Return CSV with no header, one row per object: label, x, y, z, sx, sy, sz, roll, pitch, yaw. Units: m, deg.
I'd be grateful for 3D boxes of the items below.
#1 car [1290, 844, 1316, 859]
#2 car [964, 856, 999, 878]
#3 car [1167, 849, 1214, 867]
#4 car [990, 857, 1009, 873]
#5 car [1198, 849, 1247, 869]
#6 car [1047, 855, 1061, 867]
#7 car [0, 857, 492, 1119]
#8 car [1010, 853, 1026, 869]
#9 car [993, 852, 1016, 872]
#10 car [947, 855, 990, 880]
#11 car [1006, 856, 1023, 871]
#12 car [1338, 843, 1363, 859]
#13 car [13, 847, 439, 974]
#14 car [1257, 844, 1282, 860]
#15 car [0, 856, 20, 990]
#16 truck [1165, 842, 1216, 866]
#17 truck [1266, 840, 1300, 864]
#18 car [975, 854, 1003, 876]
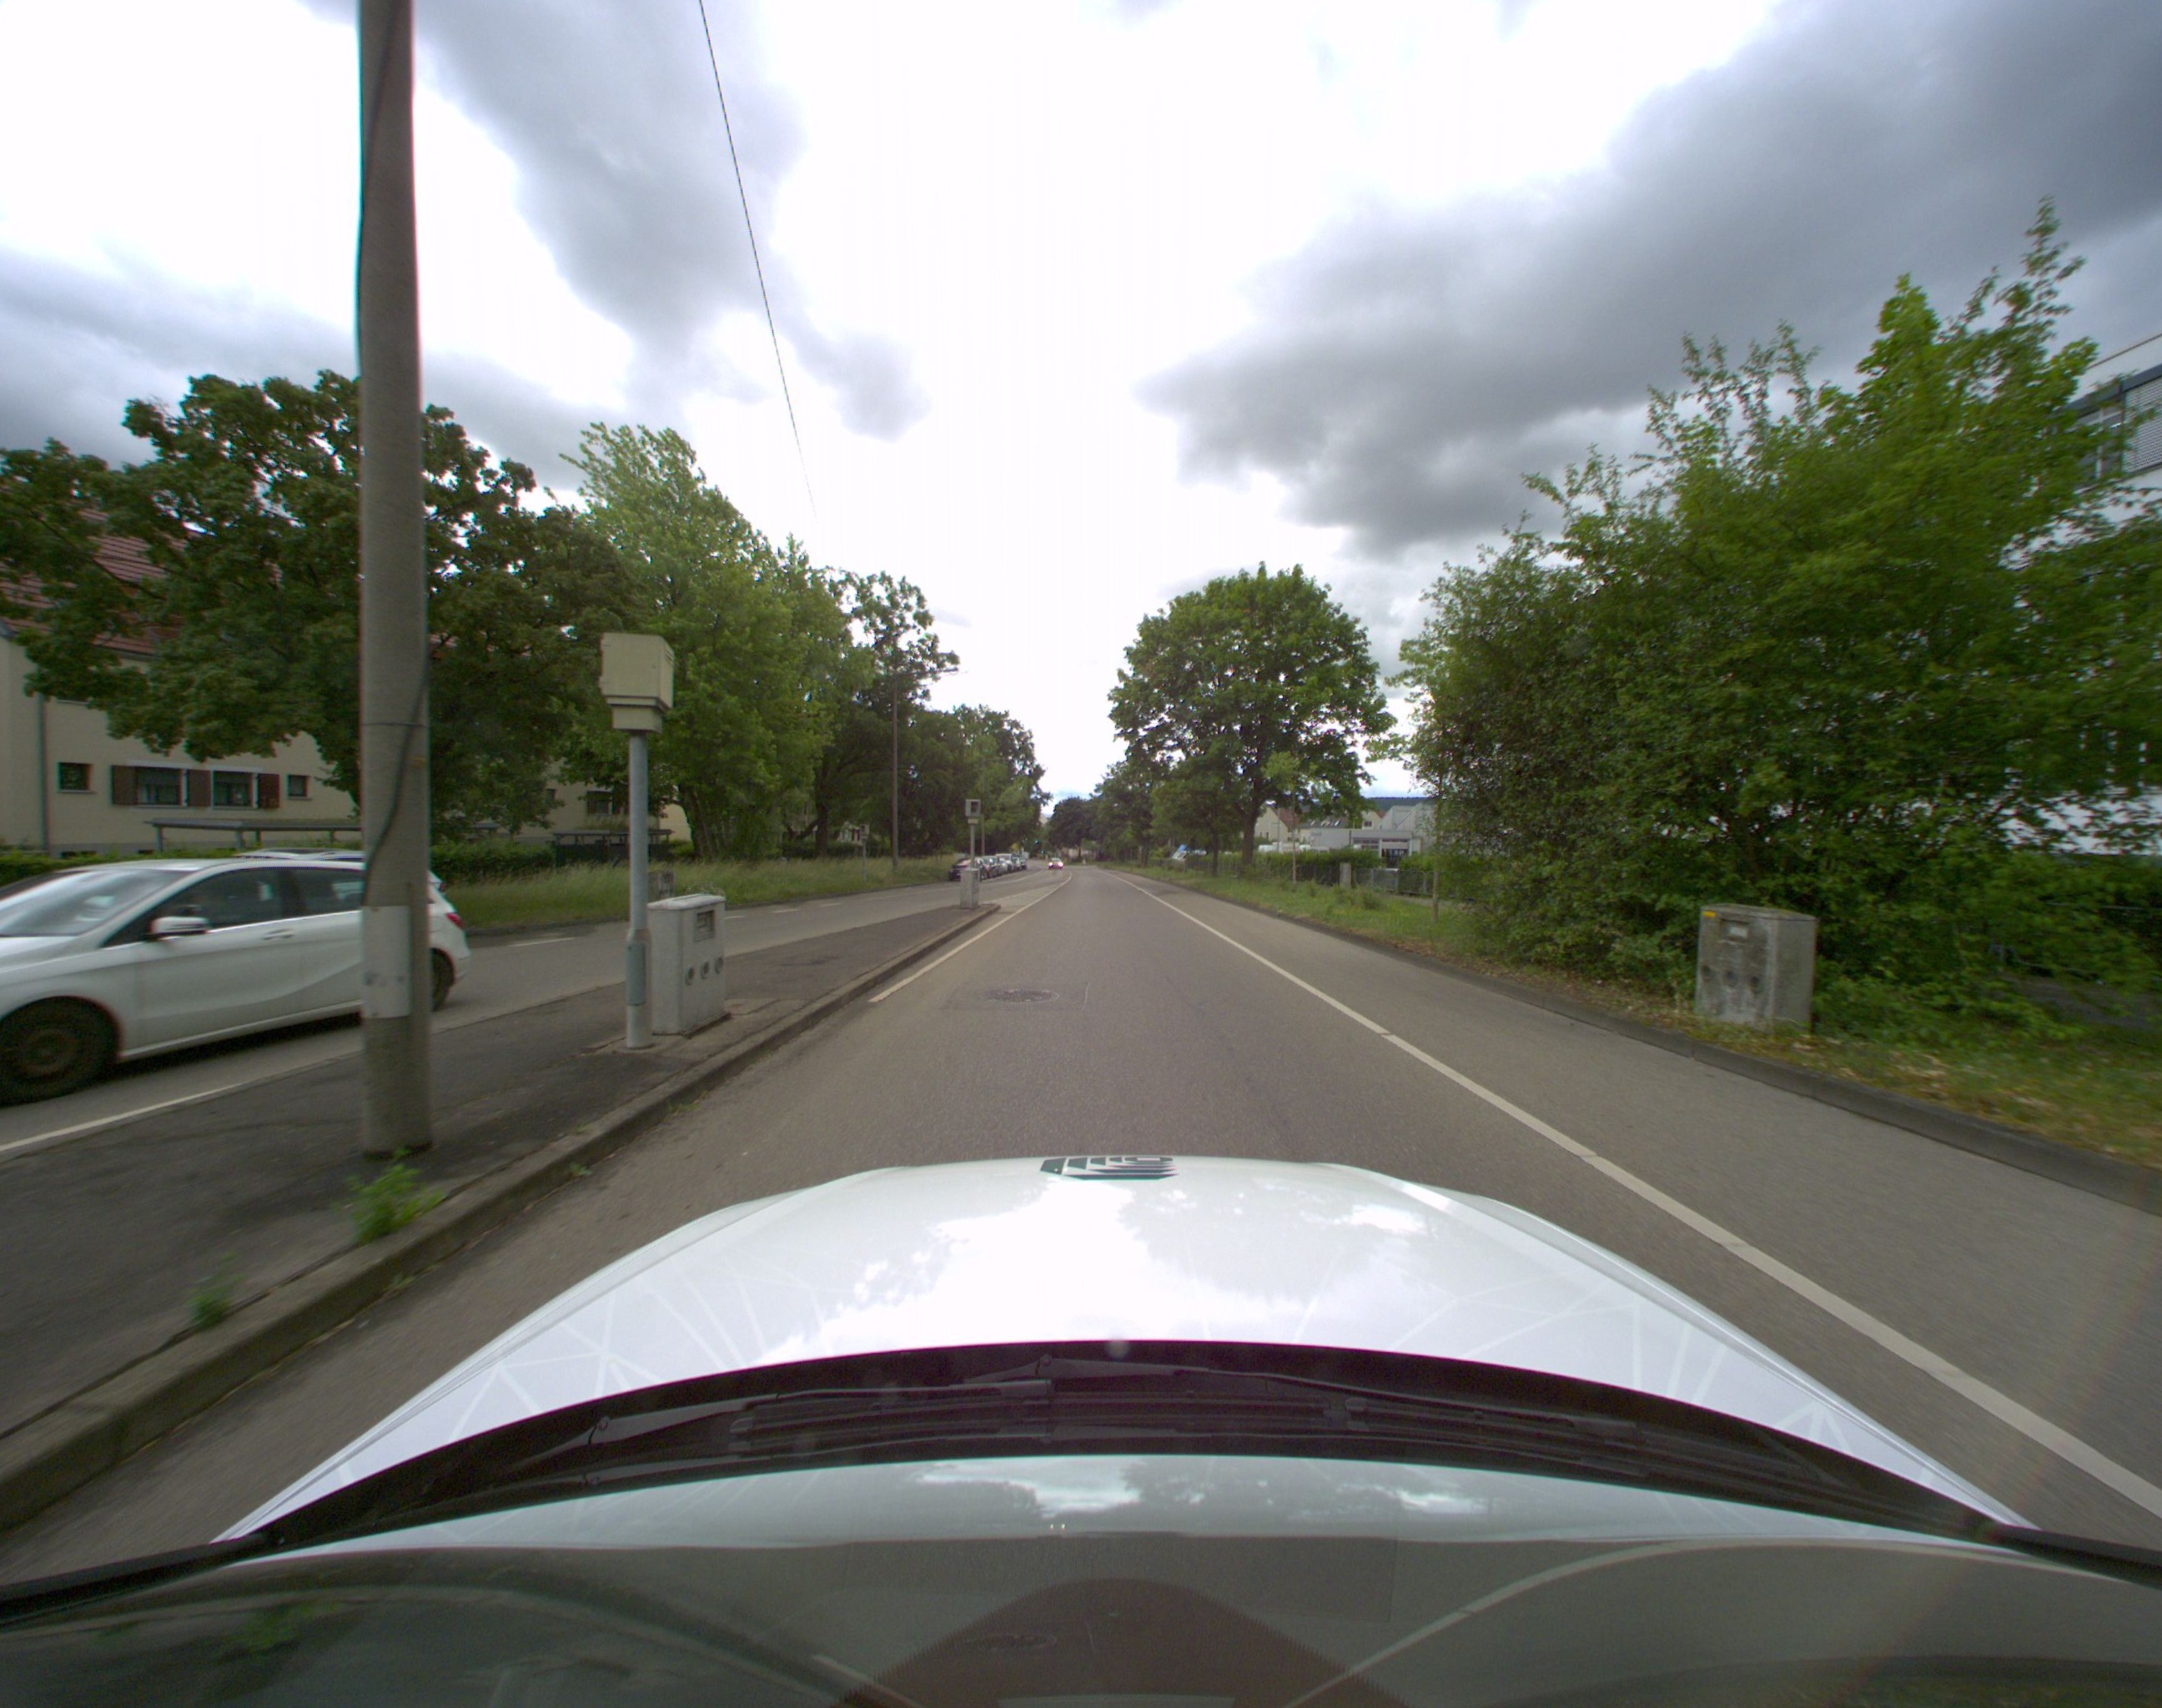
car,40.171,-0.474,147.145,2.234,2.676,5.483,1,2,43
car,-6.986,0.871,57.369,1.761,1.447,4.152,0,0,2
car,14.995,0.547,111.104,6.039,2.367,2.343,1,-1,-25
car,-7.458,0.982,74.626,1.632,1.433,3.944,1,0,-5
car,15.991,0.561,92.138,5.272,2.188,2.054,1,-1,-26
car,-3.492,0.897,104.901,1.632,1.467,4.000,-1,-1,0
car,-7.361,0.829,6.561,1.867,1.570,4.342,1,-1,3
car,-8.222,0.921,106.067,1.861,1.963,5.122,0,0,-2
car,-7.476,0.777,80.401,1.762,1.931,5.154,1,0,0
car,-7.117,0.838,52.039,1.867,1.570,4.654,0,0,3
car,-7.493,1.069,91.545,1.669,1.564,4.277,0,0,-2
car,48.297,-0.593,145.822,2.234,2.676,5.483,1,2,43
car,-13.208,0.754,13.090,1.864,1.667,4.401,1,0,9
car,34.512,-0.445,148.910,2.233,2.676,5.485,0,2,37
car,-14.095,0.809,8.014,1.864,1.596,4.010,1,0,9
truck,15.966,-0.039,119.029,7.200,3.477,2.597,0,0,-26
truck,30.306,-0.291,122.606,2.843,3.459,9.541,1,-1,1
car,-7.030,0.812,62.791,1.763,1.592,4.133,0,0,-1
